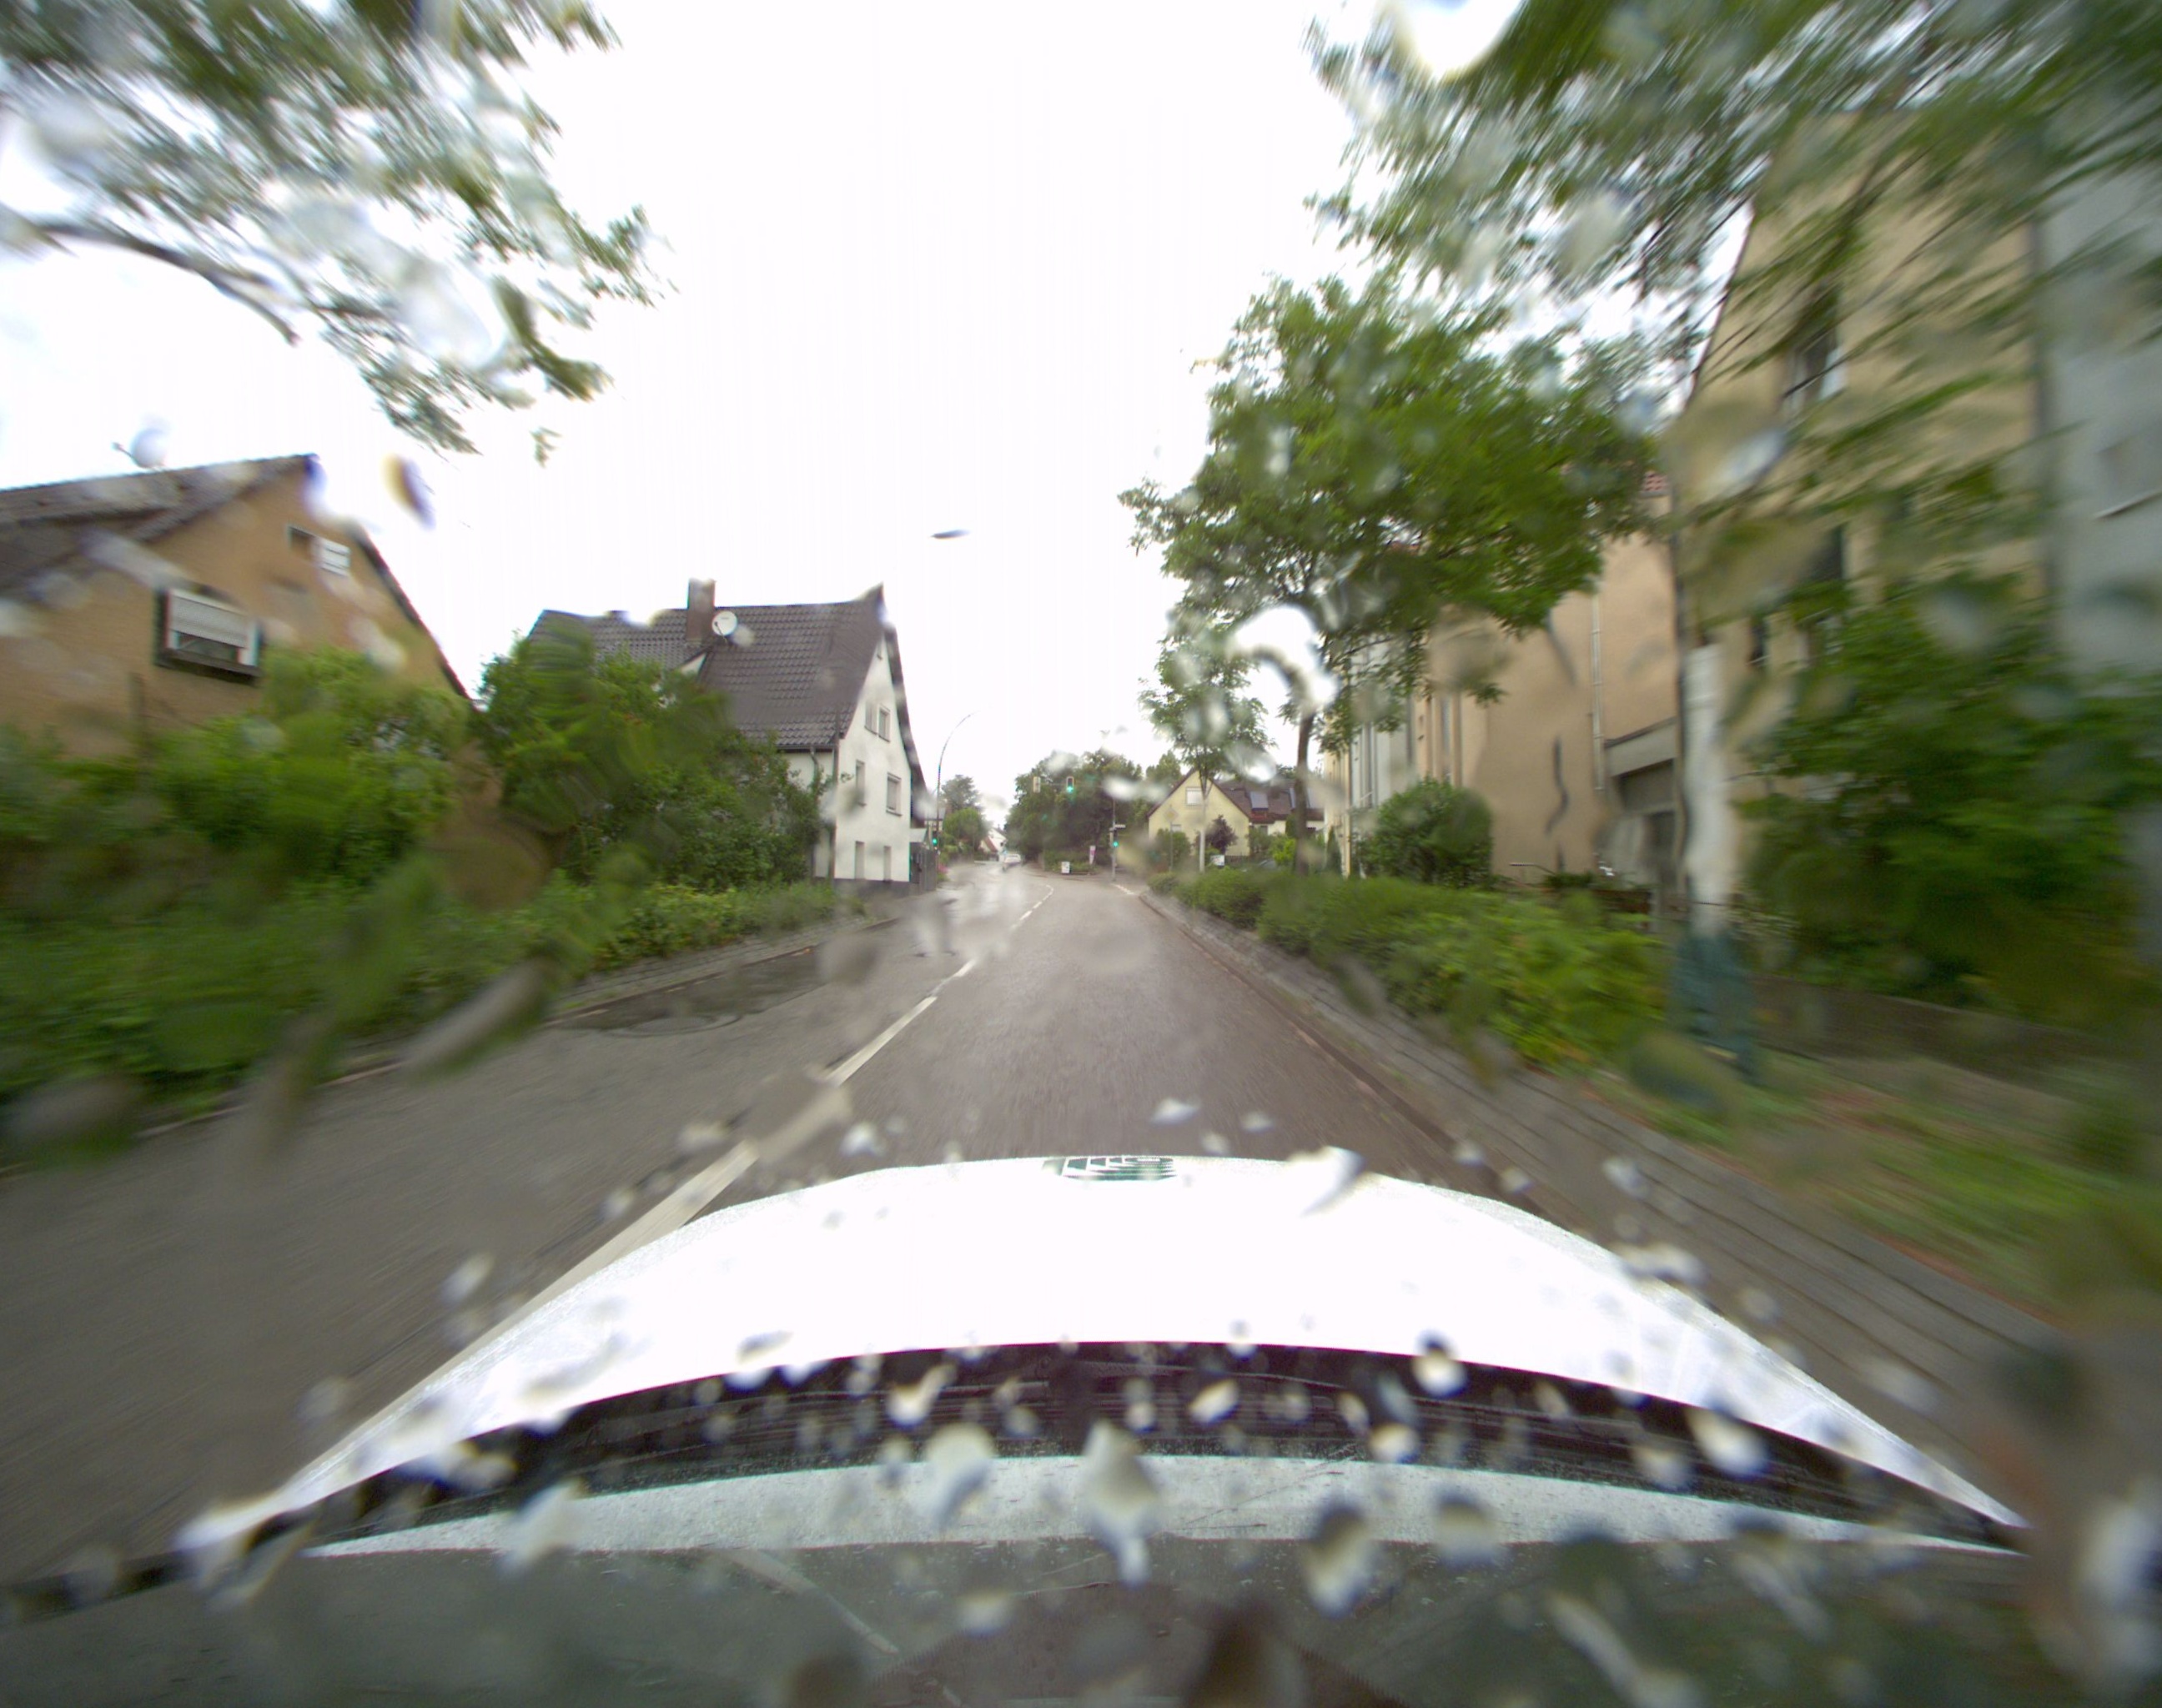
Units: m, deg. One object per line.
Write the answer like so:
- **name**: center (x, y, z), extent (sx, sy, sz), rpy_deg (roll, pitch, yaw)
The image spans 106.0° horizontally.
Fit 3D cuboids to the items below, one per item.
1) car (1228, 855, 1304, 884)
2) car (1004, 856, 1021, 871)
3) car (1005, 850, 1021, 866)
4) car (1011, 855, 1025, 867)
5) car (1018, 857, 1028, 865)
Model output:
- **car**: center (10.506, 0.887, 46.344), extent (4.105, 1.585, 1.870), rpy_deg (0, -2, 11)
- **car**: center (-6.869, 0.969, 81.383), extent (1.609, 1.480, 4.030), rpy_deg (0, 0, -5)
- **car**: center (-7.694, 0.493, 92.376), extent (1.633, 1.741, 4.131), rpy_deg (0, -1, -3)
- **car**: center (-8.789, 1.014, 114.423), extent (1.810, 1.573, 3.877), rpy_deg (0, -1, -2)
- **car**: center (-10.010, 1.122, 140.306), extent (1.649, 1.371, 4.173), rpy_deg (0, 0, -5)
